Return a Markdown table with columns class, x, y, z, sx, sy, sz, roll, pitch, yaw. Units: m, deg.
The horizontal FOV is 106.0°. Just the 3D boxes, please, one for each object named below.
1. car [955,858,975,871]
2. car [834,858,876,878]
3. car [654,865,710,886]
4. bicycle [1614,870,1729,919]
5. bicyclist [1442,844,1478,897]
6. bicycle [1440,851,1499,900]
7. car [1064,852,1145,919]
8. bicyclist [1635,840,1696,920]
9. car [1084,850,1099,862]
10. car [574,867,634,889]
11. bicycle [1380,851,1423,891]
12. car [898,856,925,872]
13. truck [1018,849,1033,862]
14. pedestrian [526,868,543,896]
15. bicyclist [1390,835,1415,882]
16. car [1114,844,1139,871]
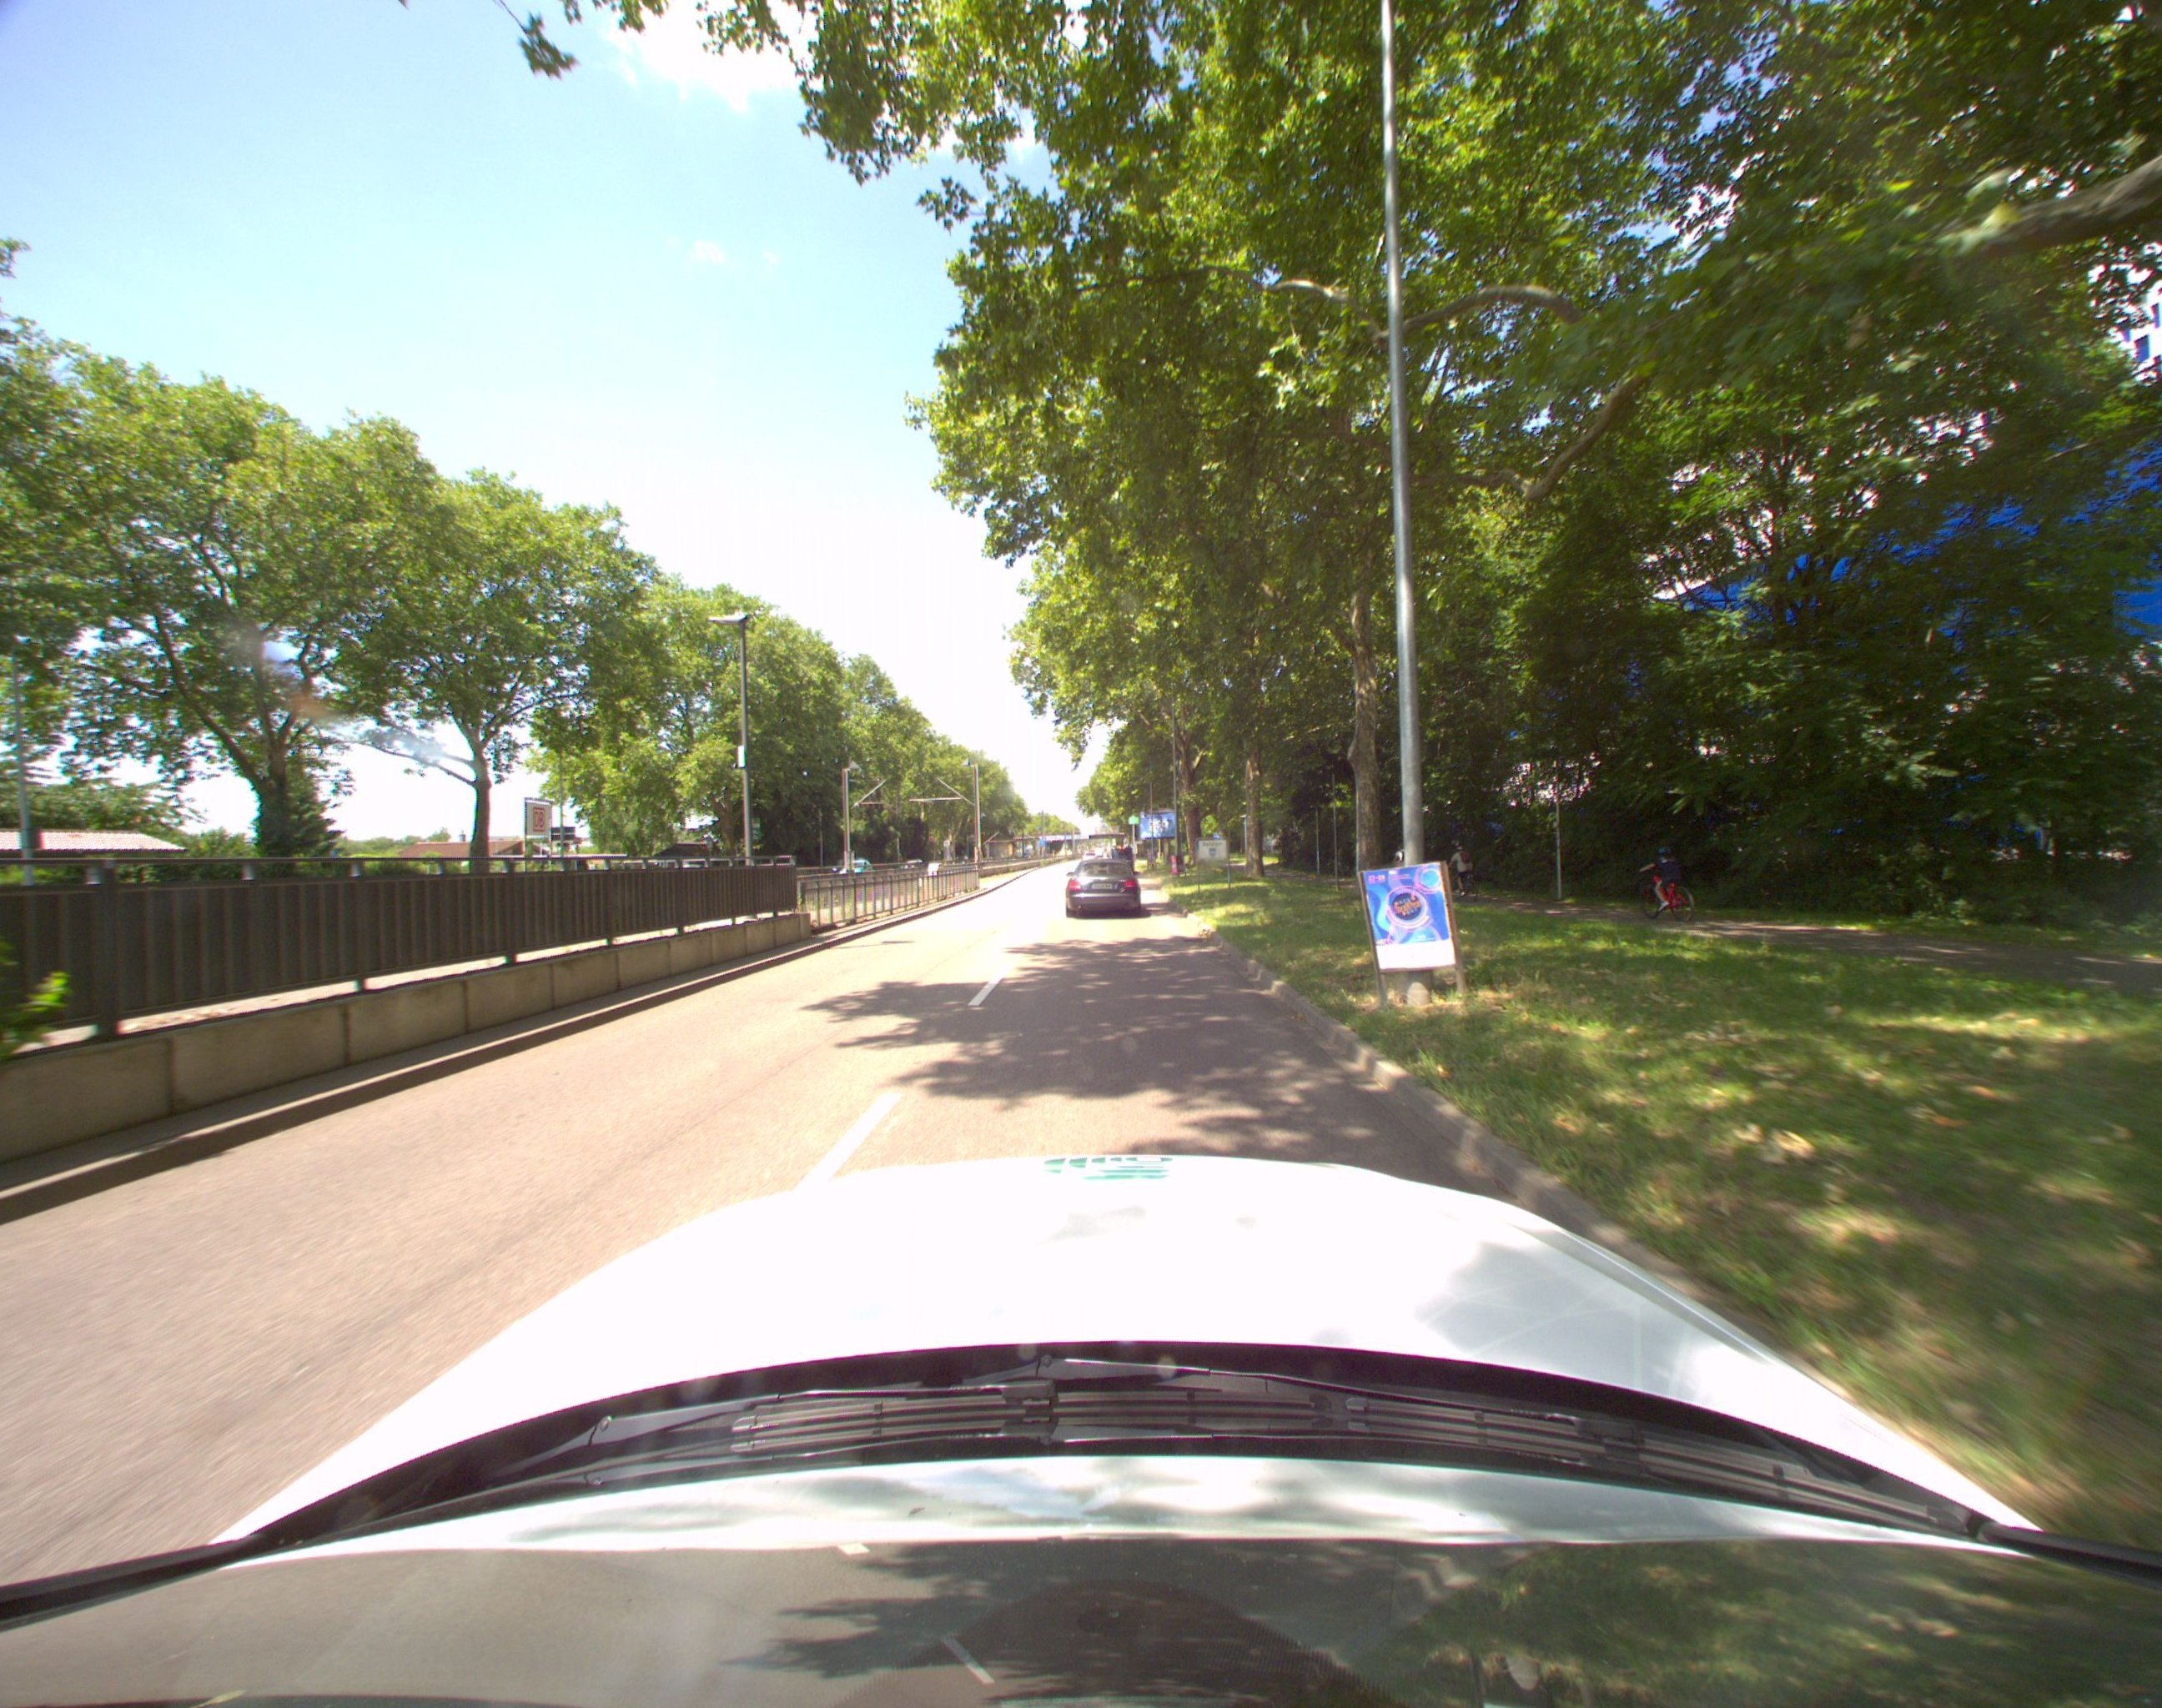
| class | x | y | z | sx | sy | sz | roll | pitch | yaw |
| --- | --- | --- | --- | --- | --- | --- | --- | --- | --- |
| car | -16.747 | 1.484 | 117.577 | 1.859 | 1.684 | 4.389 | 2 | 0 | 4 |
| car | -15.724 | 0.941 | 56.857 | 1.638 | 1.265 | 3.841 | -1 | 0 | 4 |
| car | -29.409 | 1.561 | 60.119 | 3.316 | 1.475 | 1.649 | -1 | 0 | -10 |
| bicycle | 12.166 | 0.810 | 16.880 | 0.646 | 0.887 | 2.015 | -1 | 0 | -12 |
| bicyclist | 11.952 | 0.512 | 25.707 | 0.656 | 1.599 | 1.054 | -1 | 0 | 2 |
| bicycle | 12.004 | 0.625 | 25.257 | 0.608 | 1.420 | 2.662 | -2 | 0 | 2 |
| car | 0.498 | 0.731 | 20.762 | 1.837 | 1.484 | 3.997 | -1 | 0 | -2 |
| bicyclist | 12.151 | 0.526 | 16.950 | 0.623 | 1.610 | 0.813 | -1 | 0 | -11 |
| car | 1.358 | 0.299 | 107.280 | 1.839 | 1.464 | 3.999 | -1 | 0 | 0 |
| car | -34.032 | 1.702 | 58.169 | 3.316 | 1.475 | 1.649 | -1 | 0 | -10 |
| bicycle | 11.980 | 0.614 | 30.545 | 0.608 | 1.420 | 2.662 | -2 | 0 | 2 |
| car | -18.747 | 1.084 | 90.106 | 1.736 | 1.684 | 4.389 | -1 | 0 | 4 |
| truck | -12.559 | 0.347 | 184.817 | 2.983 | 3.020 | 7.993 | -1 | 0 | -2 |
| pedestrian | -29.120 | 1.491 | 43.388 | 0.556 | 1.452 | 0.643 | -1 | 0 | -12 |
| bicyclist | 12.074 | 0.161 | 30.585 | 0.595 | 1.746 | 0.843 | -1 | 0 | 2 |
| car | 3.558 | 0.263 | 63.411 | 1.840 | 1.959 | 4.149 | 0 | 0 | 4 |
